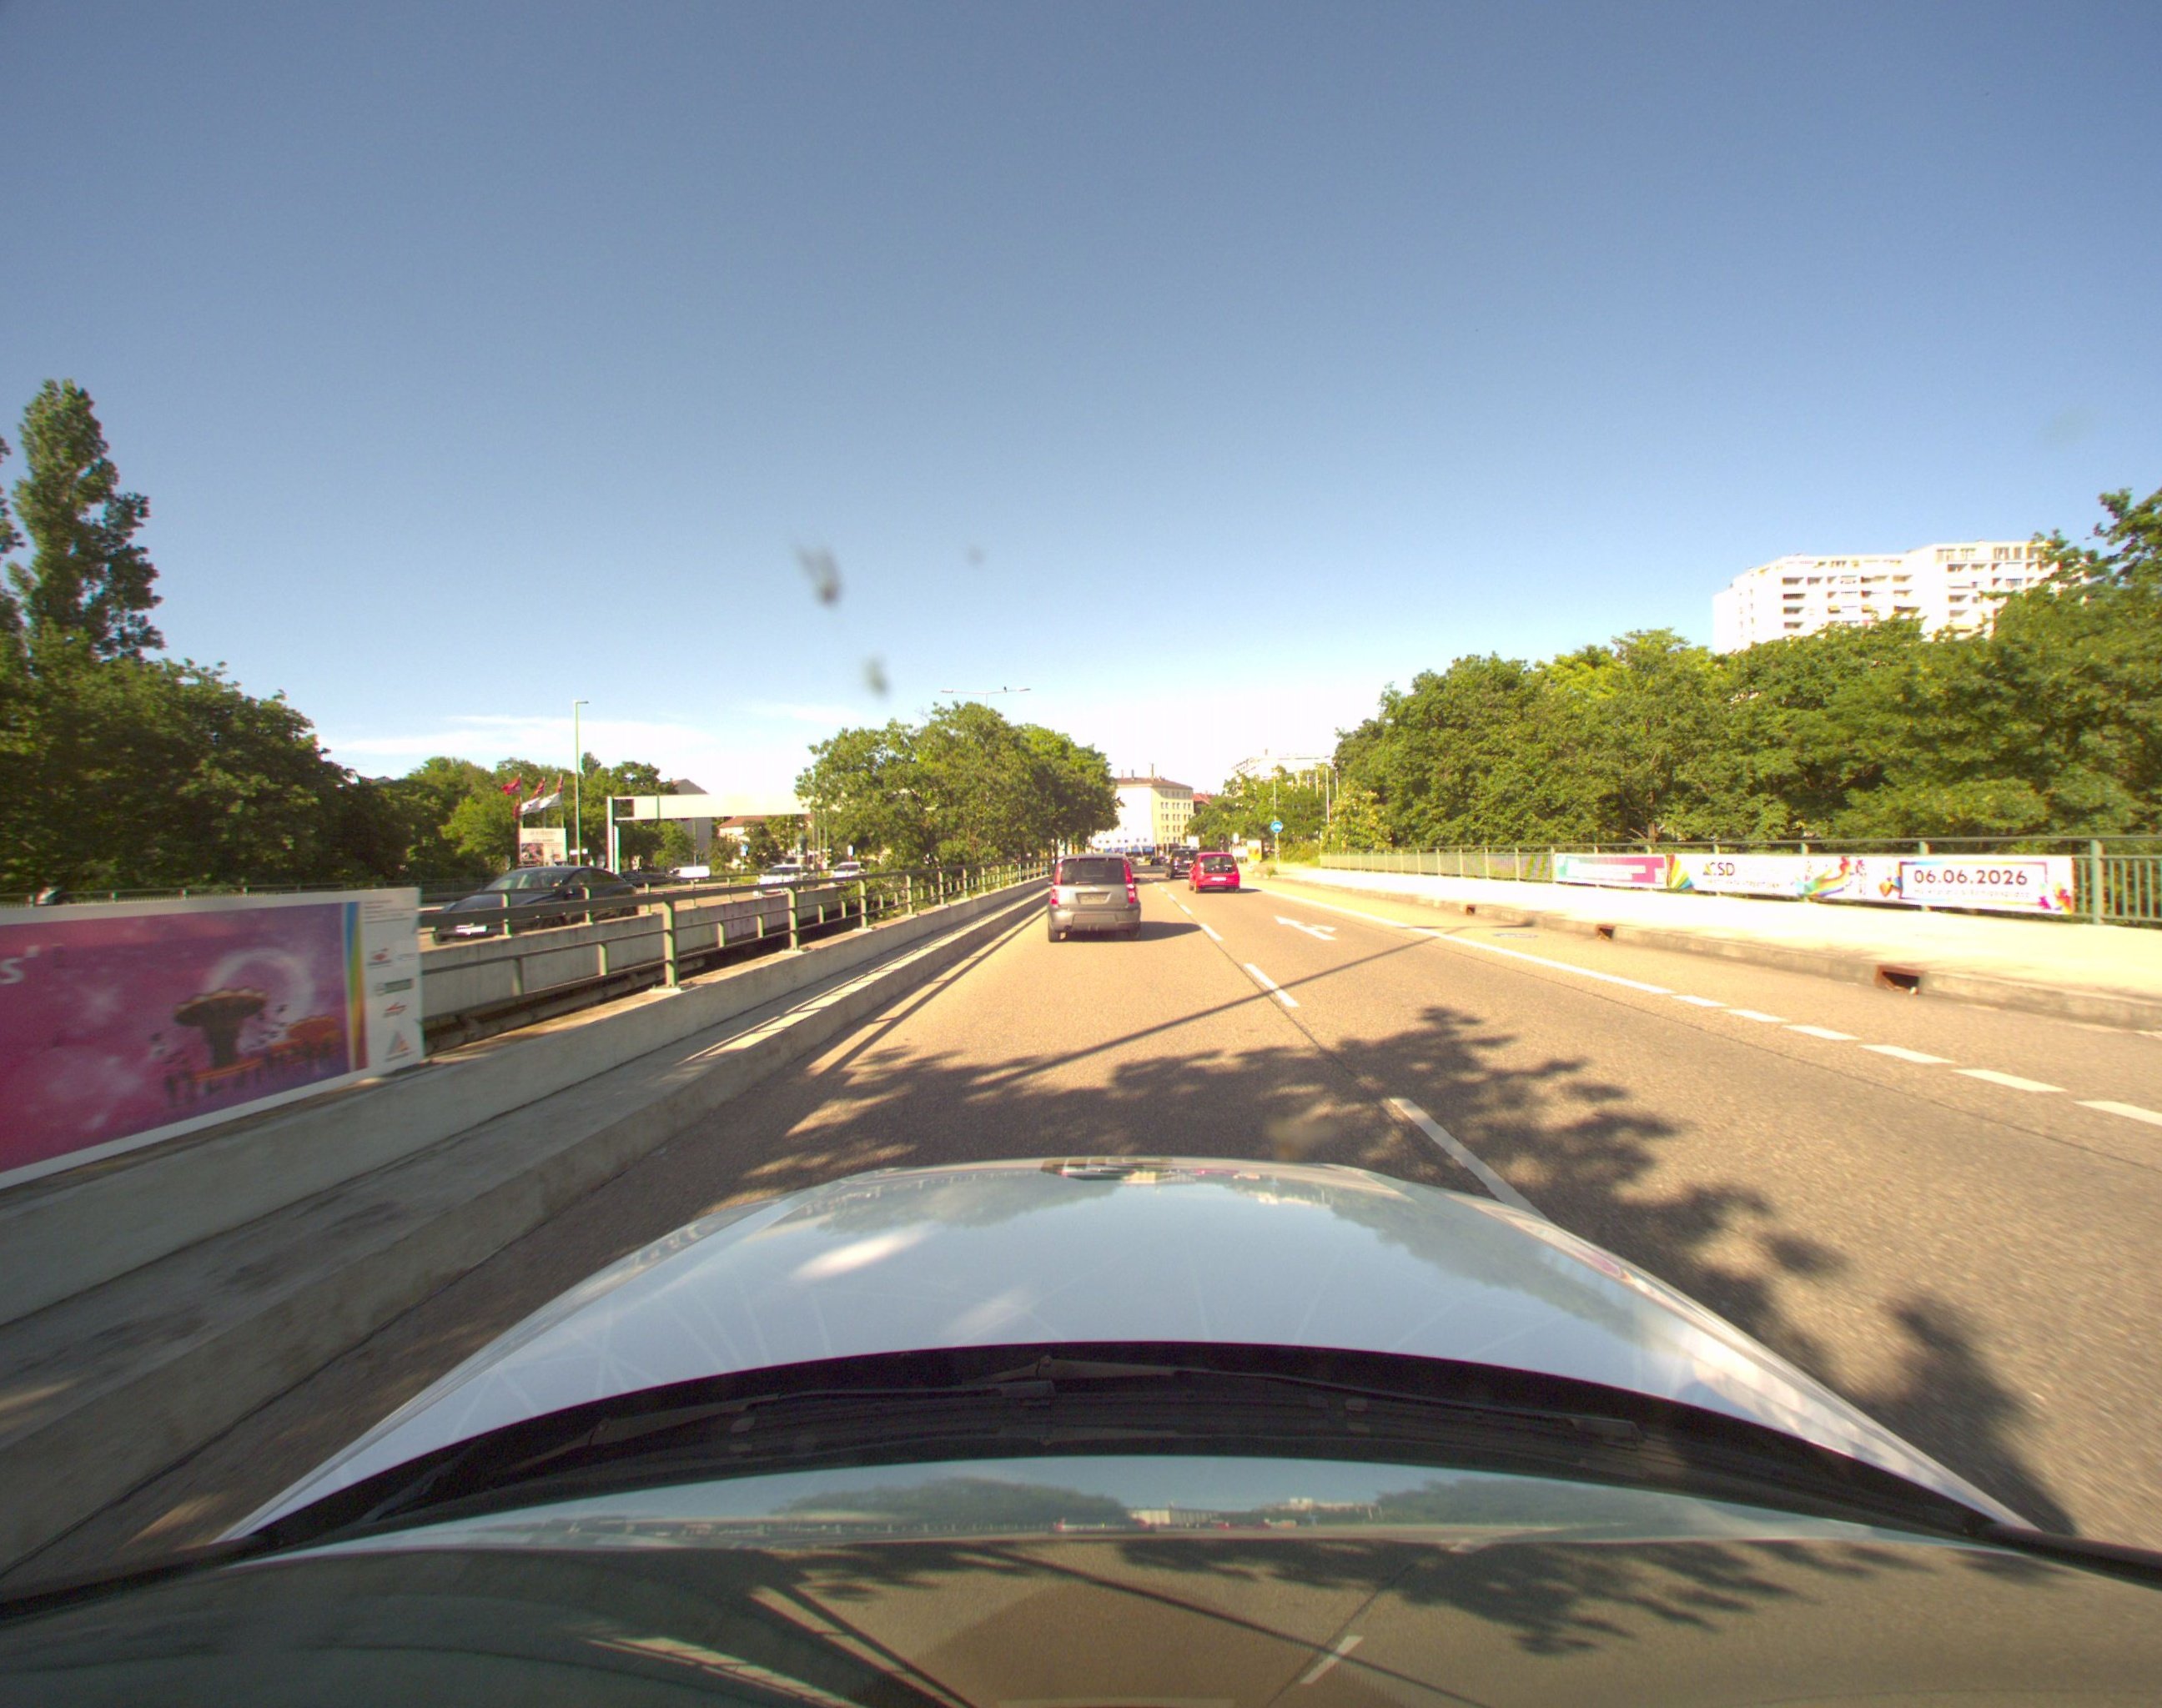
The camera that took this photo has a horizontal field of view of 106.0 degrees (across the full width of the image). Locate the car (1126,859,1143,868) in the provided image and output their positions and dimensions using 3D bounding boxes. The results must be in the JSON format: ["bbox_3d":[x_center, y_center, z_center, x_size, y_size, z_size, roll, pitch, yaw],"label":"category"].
[{"bbox_3d":[9.228,1.608,140.809,1.930,1.528,4.116,-1,0,18],"label":"car"}]

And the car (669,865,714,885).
[{"bbox_3d":[-42.664,2.312,89.361,4.251,2.013,1.986,-2,0,-21],"label":"car"}]

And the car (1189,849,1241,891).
[{"bbox_3d":[4.992,0.556,30.801,1.610,1.463,3.755,-1,1,4],"label":"car"}]

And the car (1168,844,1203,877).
[{"bbox_3d":[6.044,0.411,47.551,1.935,1.840,4.159,0,-1,6],"label":"car"}]

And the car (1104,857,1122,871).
[{"bbox_3d":[3.618,1.086,91.807,1.937,1.528,4.101,-1,0,3],"label":"car"}]

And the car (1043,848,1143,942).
[{"bbox_3d":[0.267,0.657,15.249,1.611,1.515,3.822,-1,1,2],"label":"car"}]

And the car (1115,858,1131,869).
[{"bbox_3d":[6.726,1.515,130.728,1.932,1.528,4.111,-1,0,12],"label":"car"}]

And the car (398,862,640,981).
[{"bbox_3d":[-11.171,1.221,16.663,1.988,2.013,4.330,-2,0,-2],"label":"car"}]

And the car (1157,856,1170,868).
[{"bbox_3d":[13.942,1.292,137.569,1.935,1.840,4.160,-5,-1,7],"label":"car"}]

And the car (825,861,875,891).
[{"bbox_3d":[-12.994,1.204,46.043,1.739,1.500,3.996,-2,0,-2],"label":"car"}]

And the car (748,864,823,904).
[{"bbox_3d":[-12.354,1.203,34.305,1.739,1.500,3.996,-2,0,-2],"label":"car"}]

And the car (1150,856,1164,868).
[{"bbox_3d":[12.189,1.279,130.283,1.935,1.840,4.160,-5,-1,7],"label":"car"}]

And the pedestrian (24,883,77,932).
[{"bbox_3d":[-32.217,1.671,25.472,0.665,1.503,0.782,-1,-2,15],"label":"pedestrian"}]
